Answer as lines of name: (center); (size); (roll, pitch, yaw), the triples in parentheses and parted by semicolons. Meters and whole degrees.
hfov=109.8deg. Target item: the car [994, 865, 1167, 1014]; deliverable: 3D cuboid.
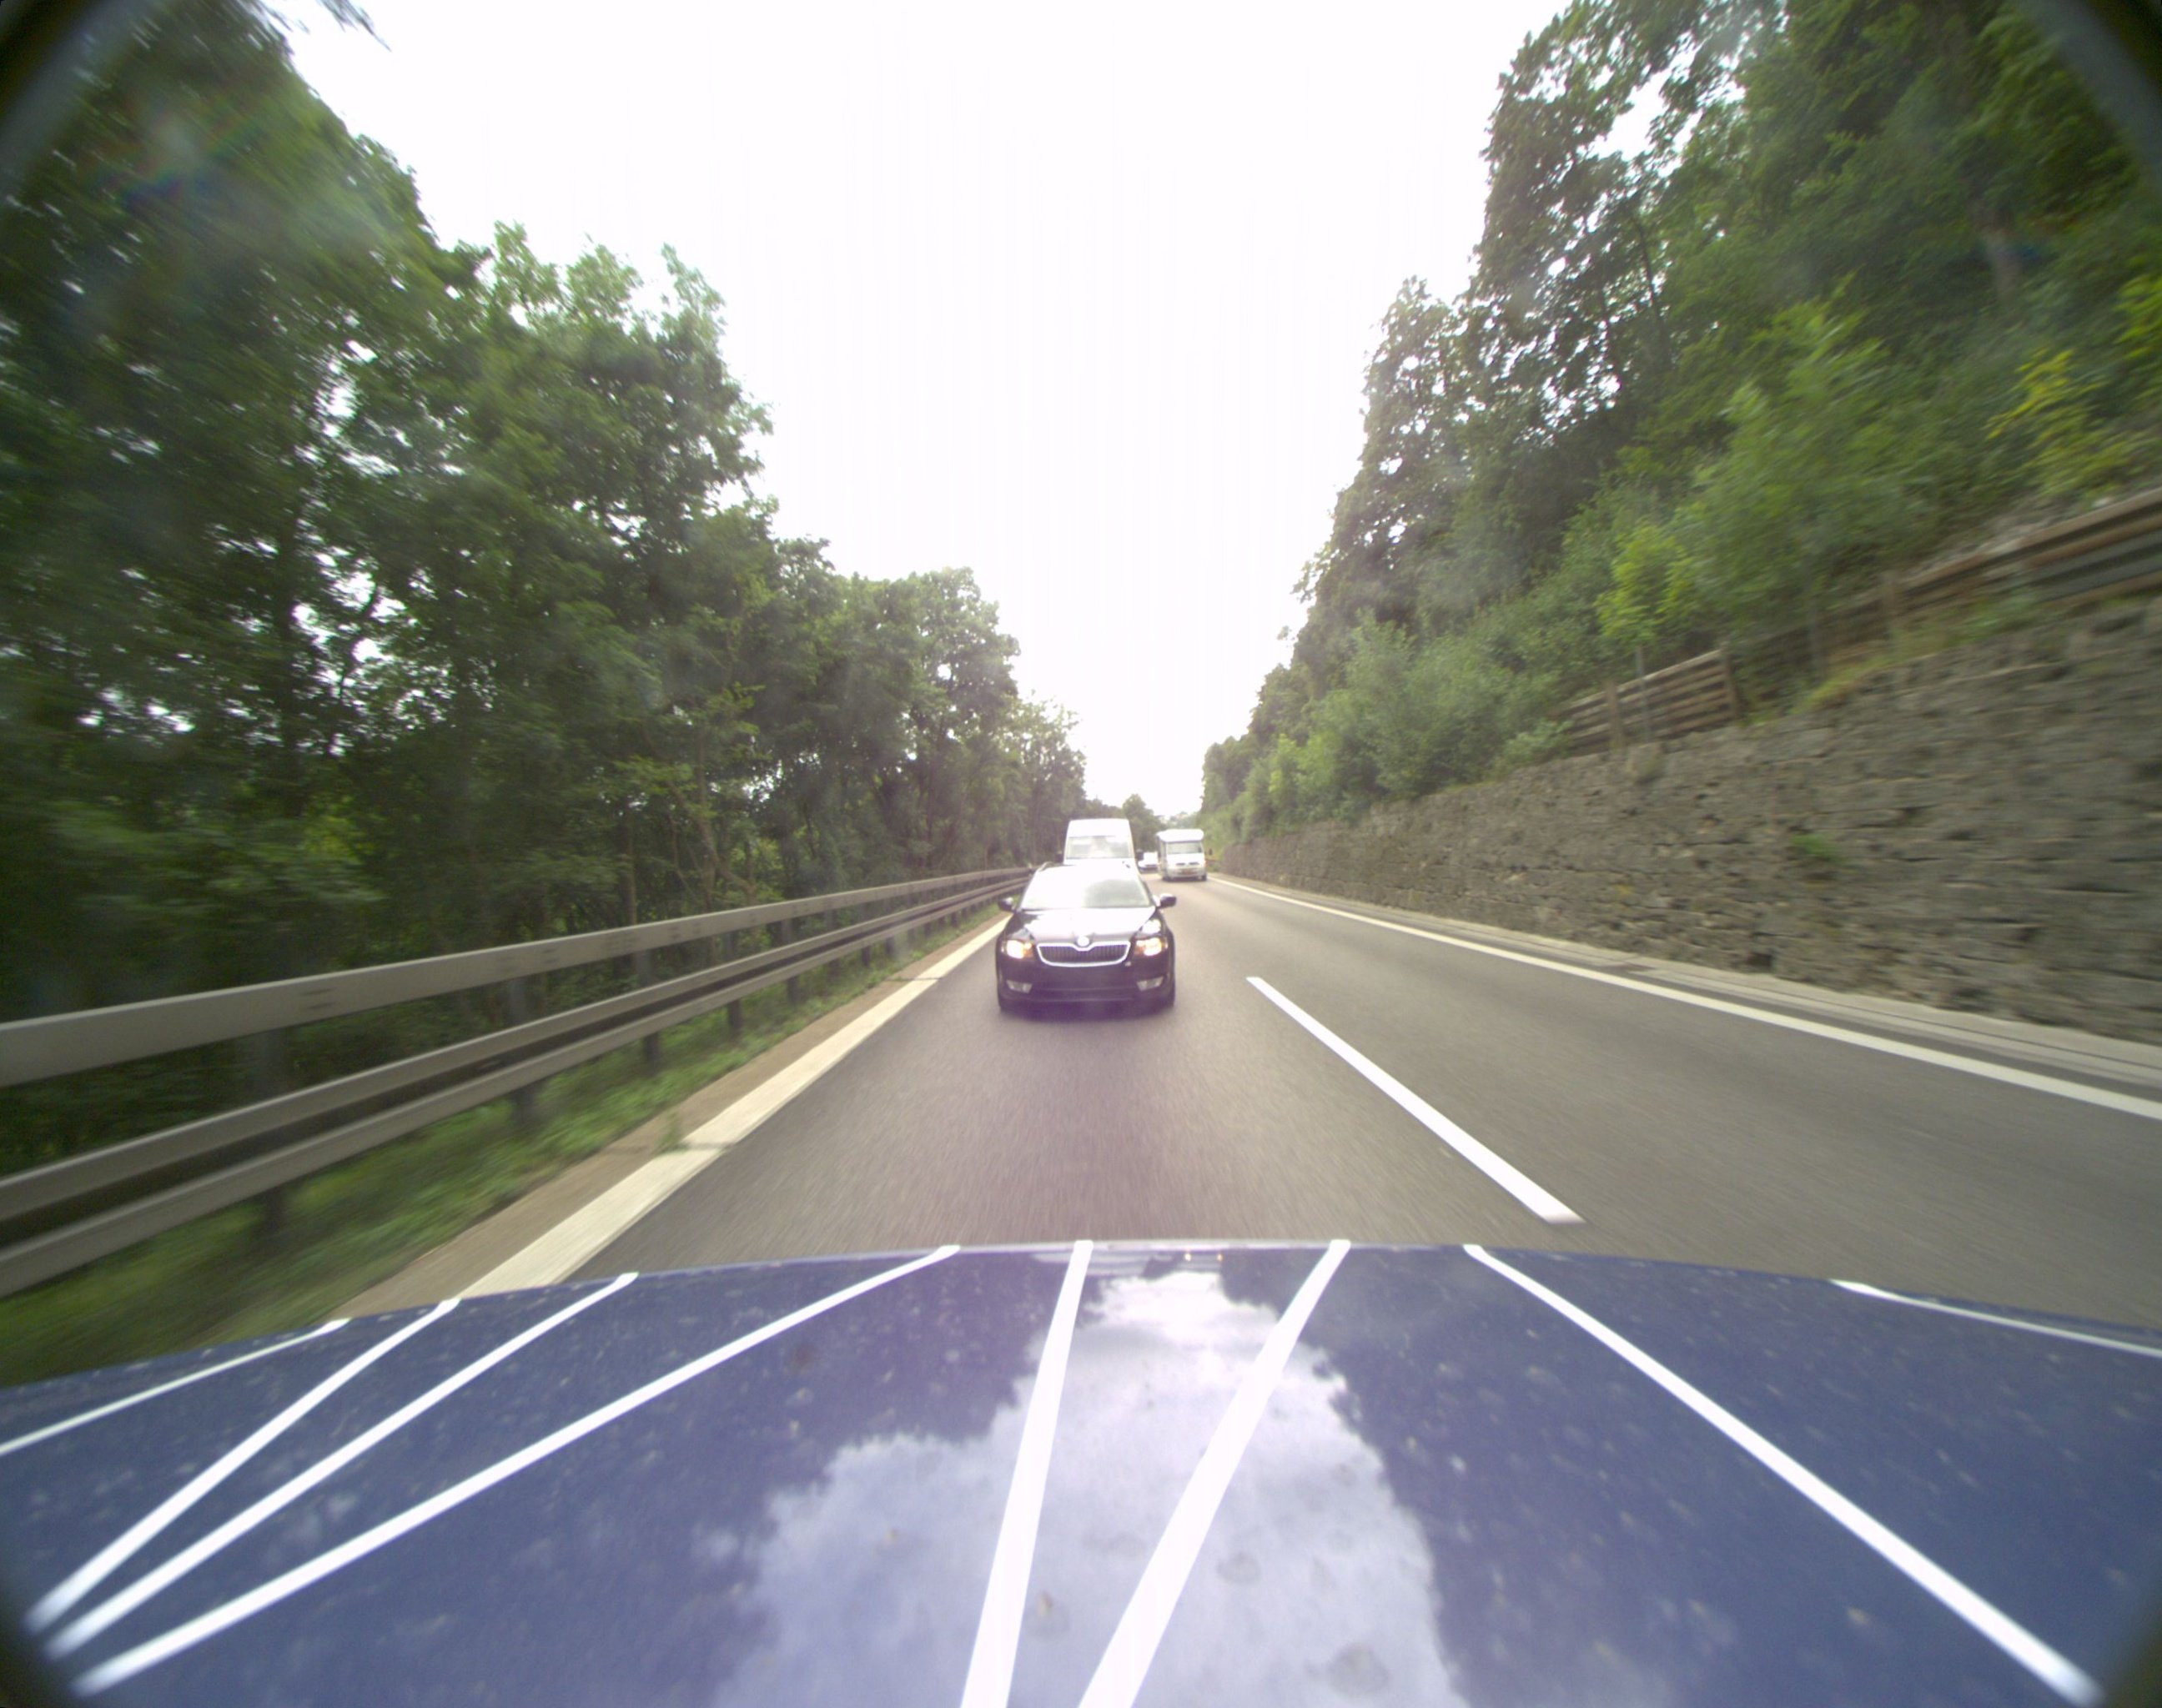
car: (0.005, 0.930, 10.125); (1.751, 1.409, 4.401); (-2, 0, 0)

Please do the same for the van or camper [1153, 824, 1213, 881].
van or camper: (5.294, -0.107, 40.530); (2.271, 2.719, 7.023); (-2, 0, 1)

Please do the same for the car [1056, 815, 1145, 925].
car: (0.559, 0.355, 20.639); (2.000, 2.545, 5.127); (-2, 1, 2)

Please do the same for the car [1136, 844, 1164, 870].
car: (5.082, 0.218, 56.377); (1.808, 1.772, 4.000); (-2, 0, 2)
